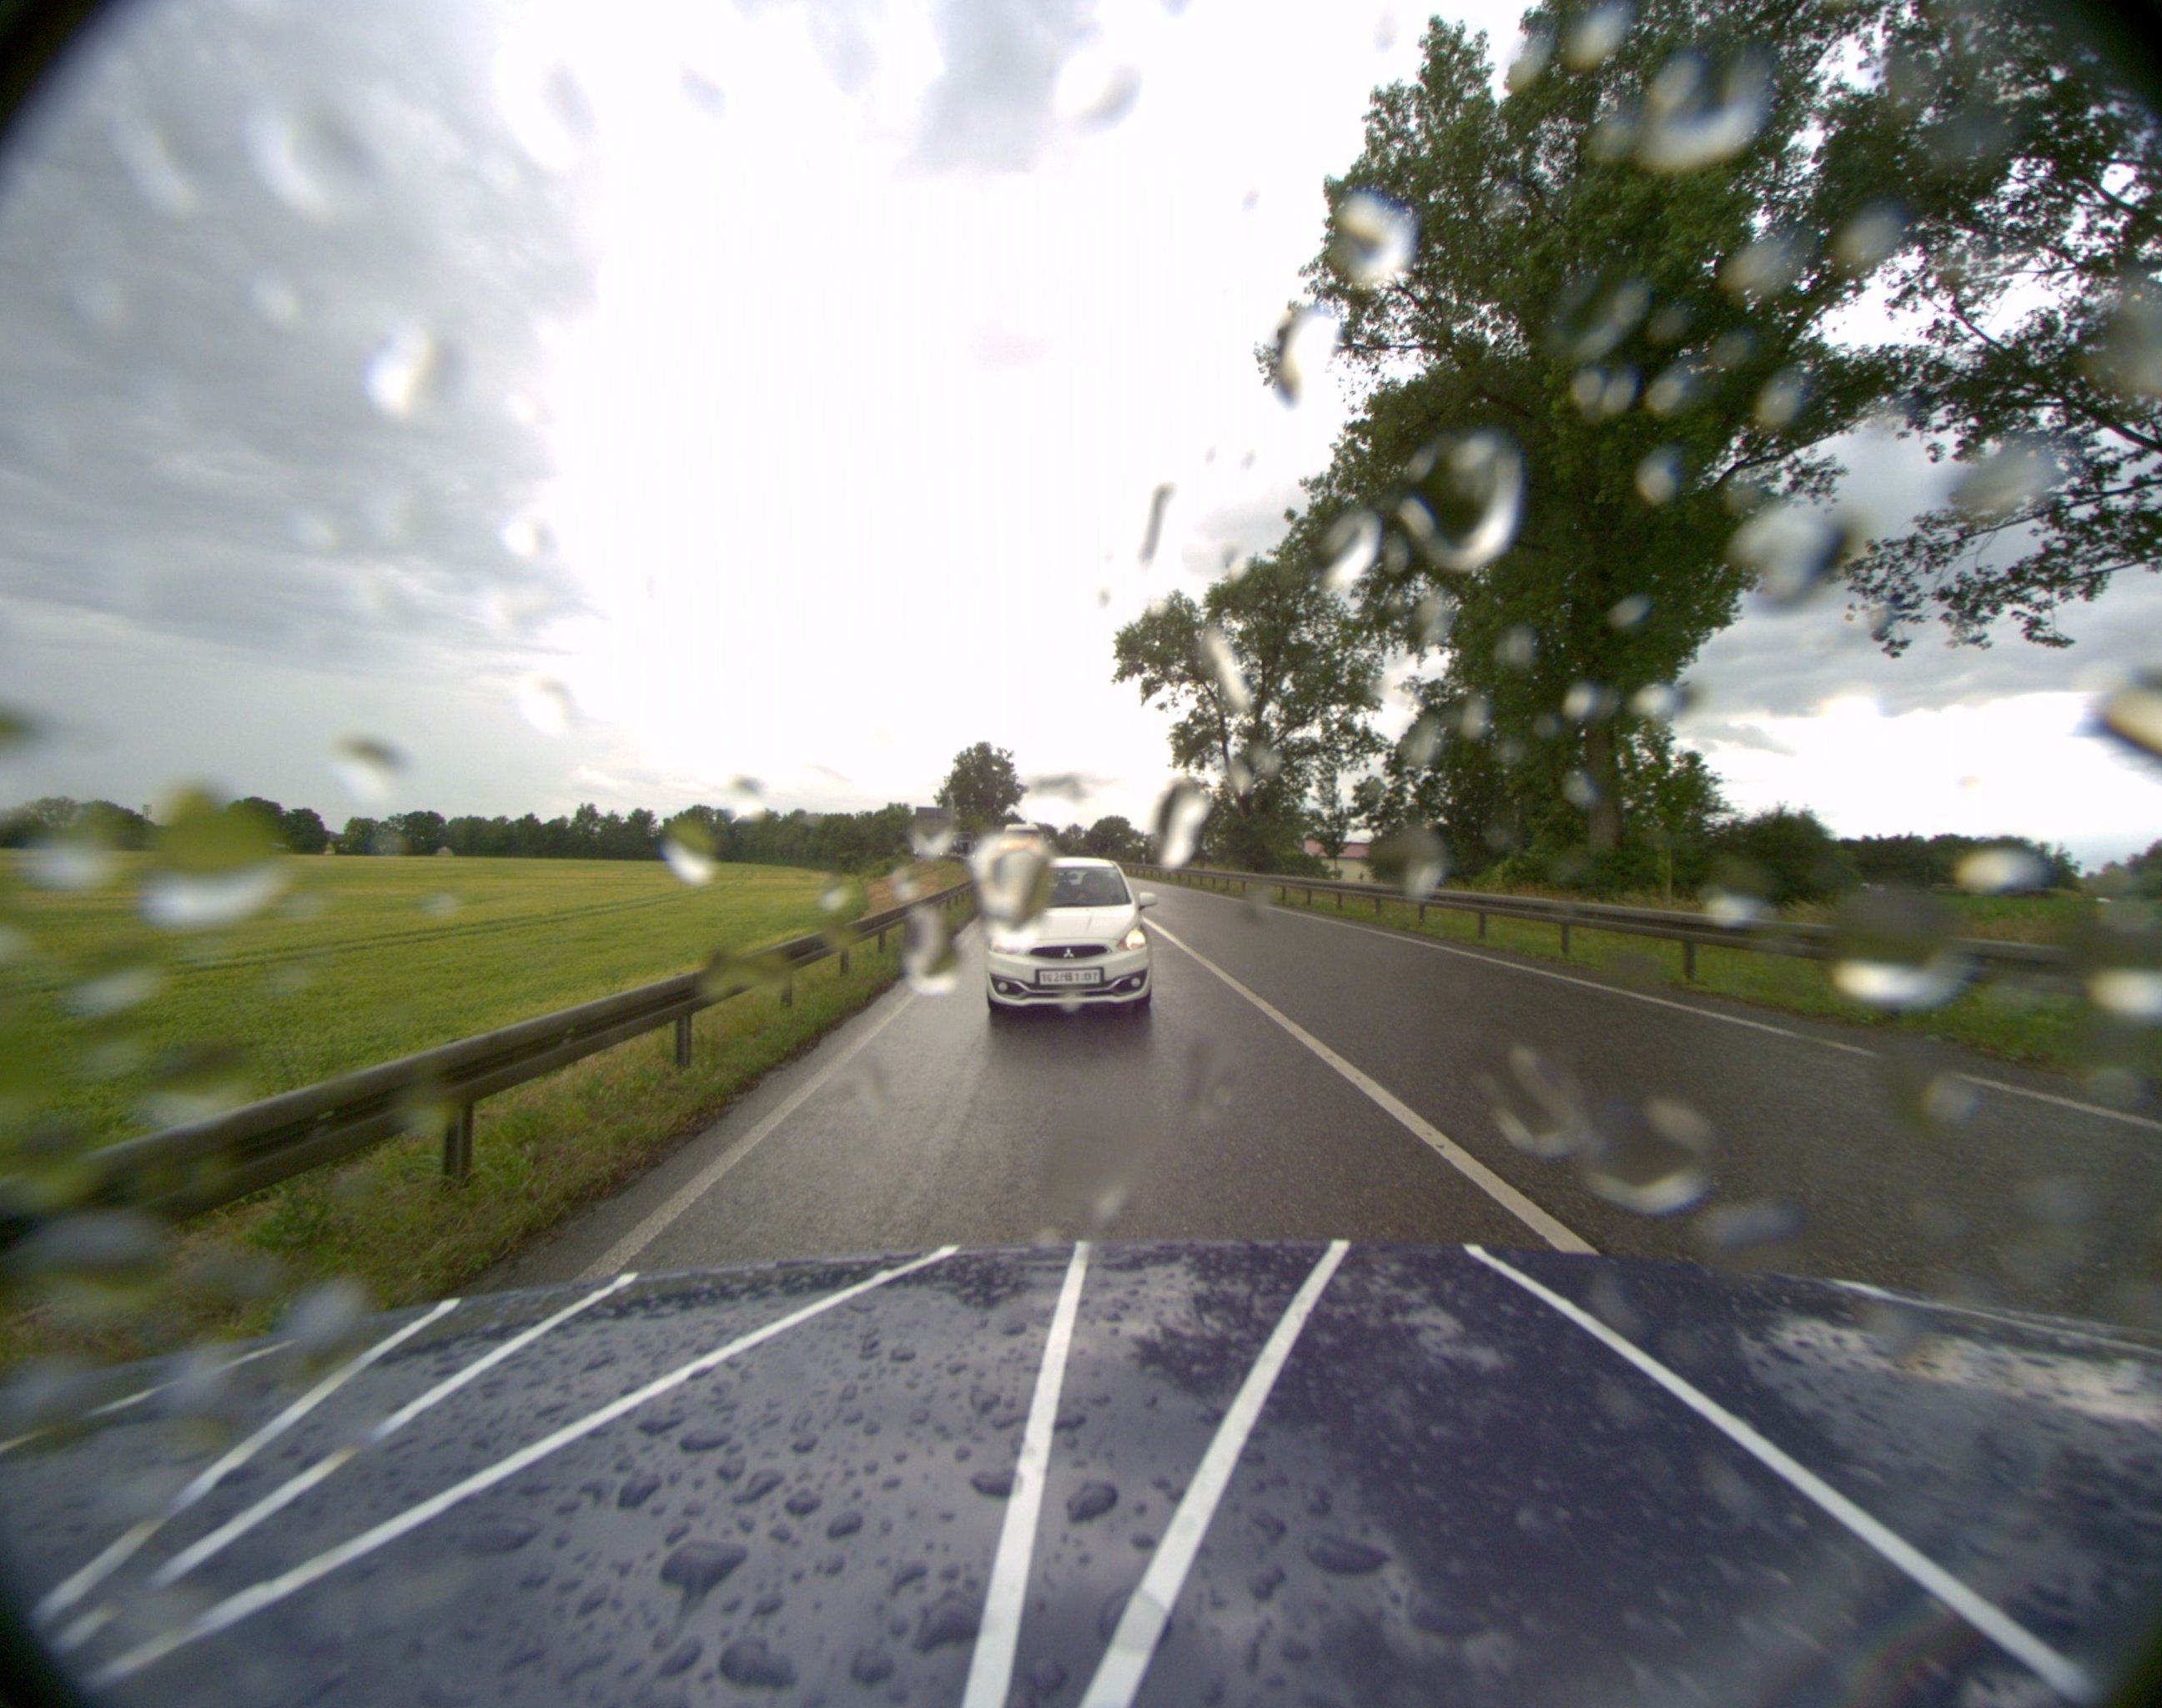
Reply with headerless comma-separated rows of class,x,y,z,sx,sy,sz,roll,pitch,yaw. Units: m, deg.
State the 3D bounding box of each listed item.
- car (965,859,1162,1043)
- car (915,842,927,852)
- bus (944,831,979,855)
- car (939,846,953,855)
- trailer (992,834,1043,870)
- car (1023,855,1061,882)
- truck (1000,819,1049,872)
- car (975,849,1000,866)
car,-0.167,0.857,8.603,1.653,1.461,4.029,-2,1,-1
car,-34.533,-1.456,164.196,1.807,2.002,4.164,-3,1,-21
bus,-17.971,-1.612,113.461,2.968,3.294,14.813,-3,1,-17
car,-23.265,-0.587,130.857,1.816,1.568,3.994,-2,1,-18
trailer,-5.697,-0.190,65.123,2.986,2.618,15.667,-2,1,-9
car,-2.273,0.785,43.260,1.782,1.380,4.325,-2,1,-7
truck,-4.320,-0.626,56.667,2.986,3.589,6.075,-2,1,-9
car,-10.875,0.379,88.270,2.044,1.832,5.328,-2,1,-16
